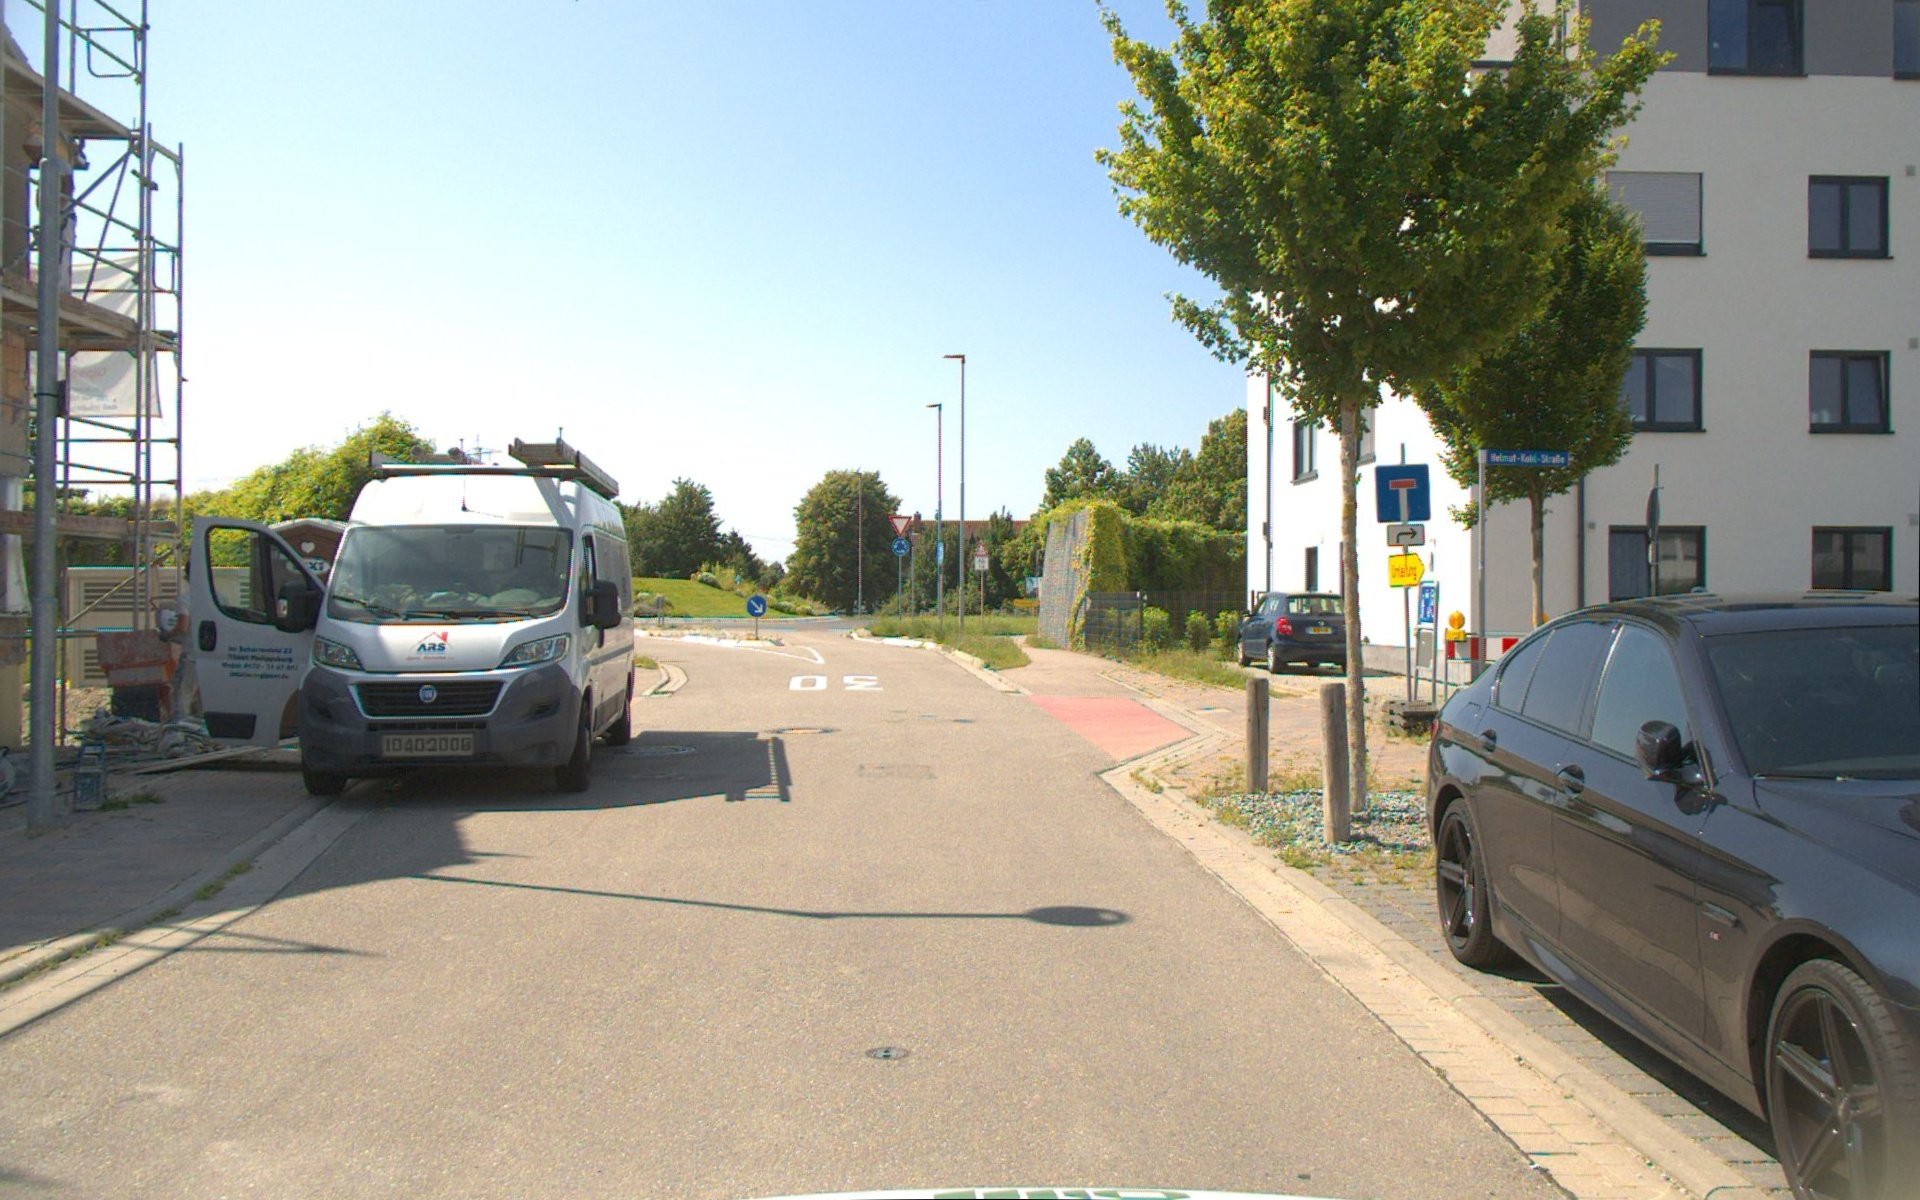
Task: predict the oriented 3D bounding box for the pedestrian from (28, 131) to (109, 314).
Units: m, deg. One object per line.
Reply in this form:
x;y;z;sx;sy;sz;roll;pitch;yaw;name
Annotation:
-8.577;-3.604;15.904;0.557;1.526;0.738;1;-3;-38;pedestrian

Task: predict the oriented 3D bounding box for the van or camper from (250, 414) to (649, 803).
-4.031;0.079;14.354;2.230;2.598;6.357;0;-1;-7;van or camper

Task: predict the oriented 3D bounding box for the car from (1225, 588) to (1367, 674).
6.386;0.545;31.859;1.644;1.495;4.113;1;1;-4;car

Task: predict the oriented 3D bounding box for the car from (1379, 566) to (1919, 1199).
2.944;0.650;5.368;1.879;1.495;5.140;-1;1;0;car
